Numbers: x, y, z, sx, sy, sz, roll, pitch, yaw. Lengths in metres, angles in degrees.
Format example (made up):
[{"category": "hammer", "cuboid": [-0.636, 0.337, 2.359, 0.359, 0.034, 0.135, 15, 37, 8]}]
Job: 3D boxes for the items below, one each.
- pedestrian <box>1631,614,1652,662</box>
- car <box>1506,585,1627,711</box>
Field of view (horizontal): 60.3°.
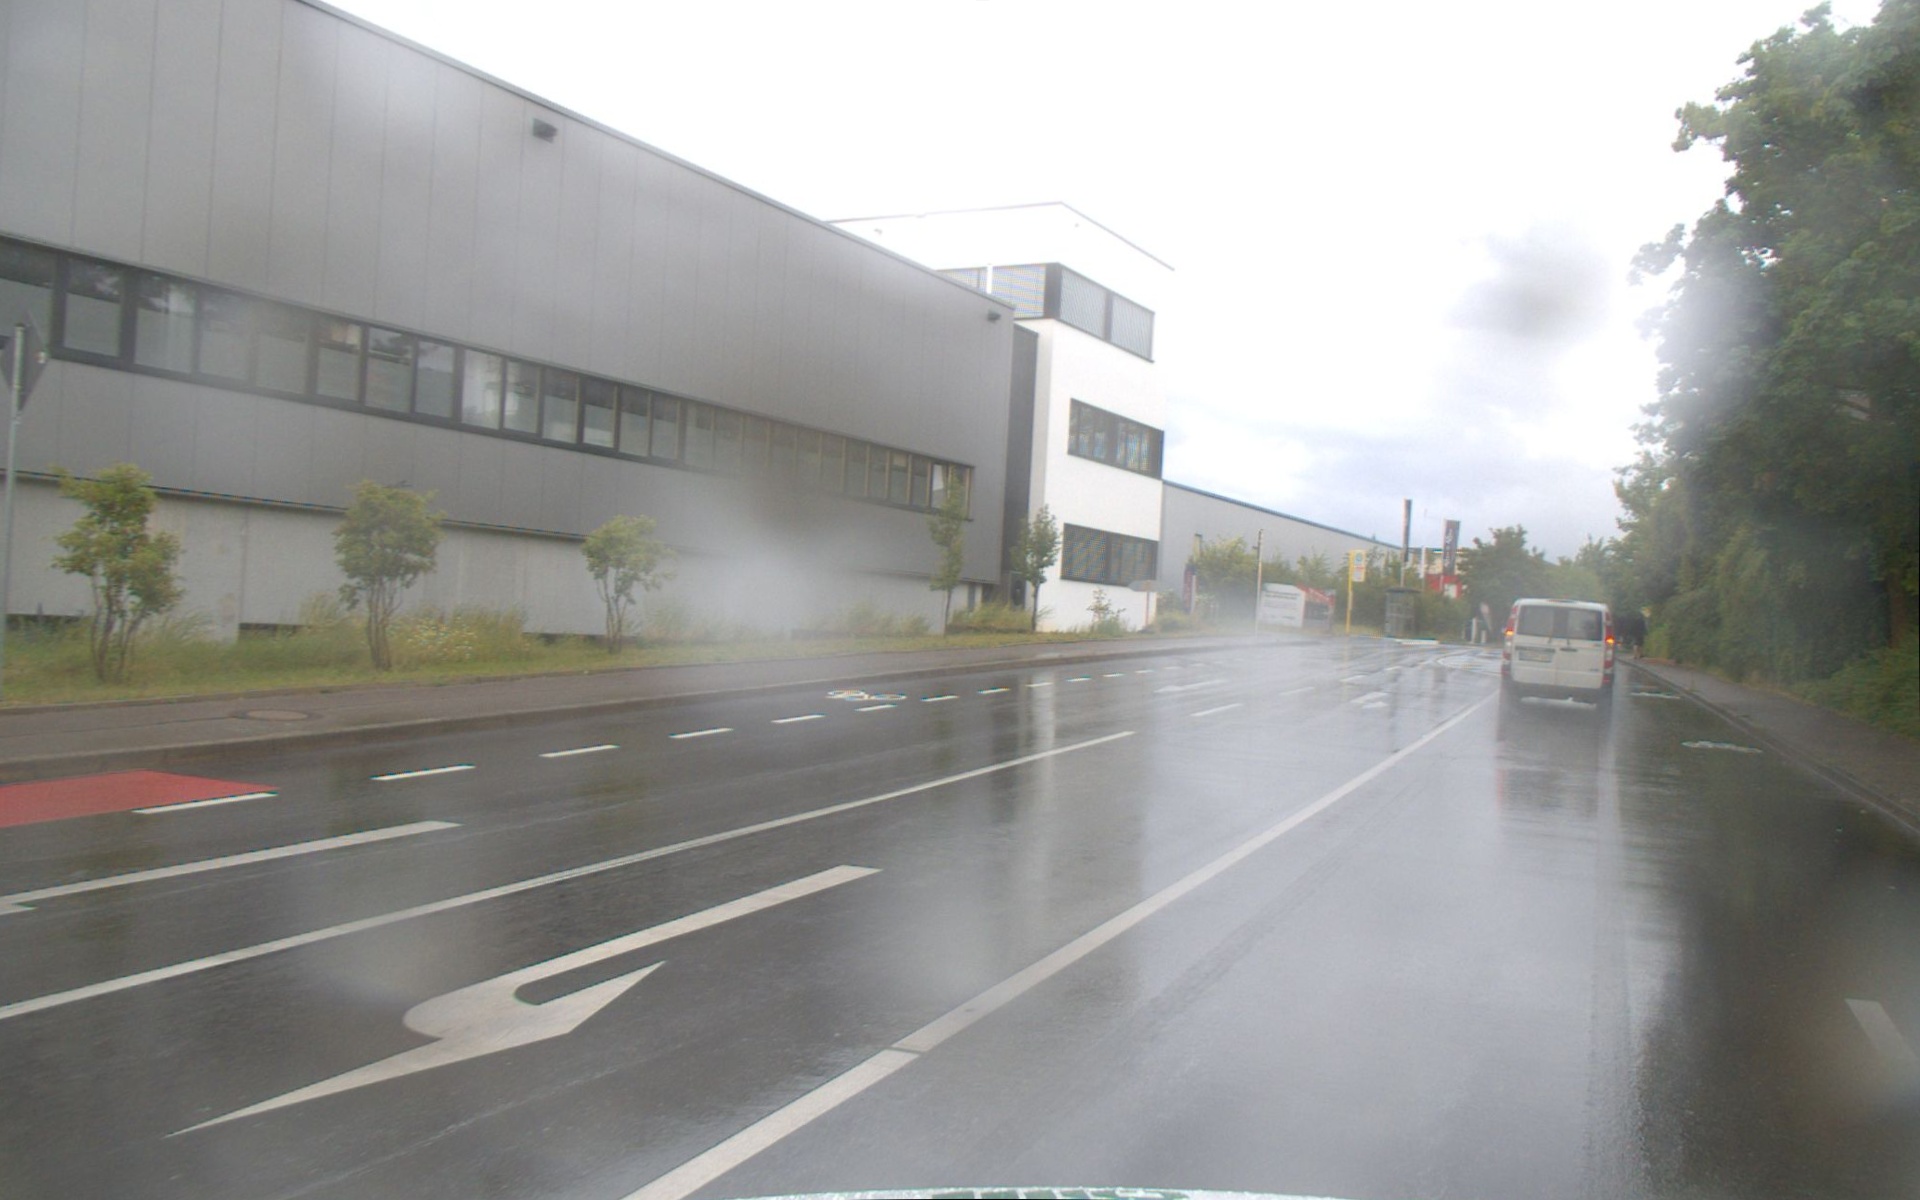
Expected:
[{"category": "pedestrian", "cuboid": [27.622, 1.531, 67.051, 0.760, 1.940, 0.728, 0, -2, 21]}, {"category": "car", "cuboid": [10.975, 0.821, 29.779, 1.860, 2.053, 5.372, 0, -1, 21]}]
